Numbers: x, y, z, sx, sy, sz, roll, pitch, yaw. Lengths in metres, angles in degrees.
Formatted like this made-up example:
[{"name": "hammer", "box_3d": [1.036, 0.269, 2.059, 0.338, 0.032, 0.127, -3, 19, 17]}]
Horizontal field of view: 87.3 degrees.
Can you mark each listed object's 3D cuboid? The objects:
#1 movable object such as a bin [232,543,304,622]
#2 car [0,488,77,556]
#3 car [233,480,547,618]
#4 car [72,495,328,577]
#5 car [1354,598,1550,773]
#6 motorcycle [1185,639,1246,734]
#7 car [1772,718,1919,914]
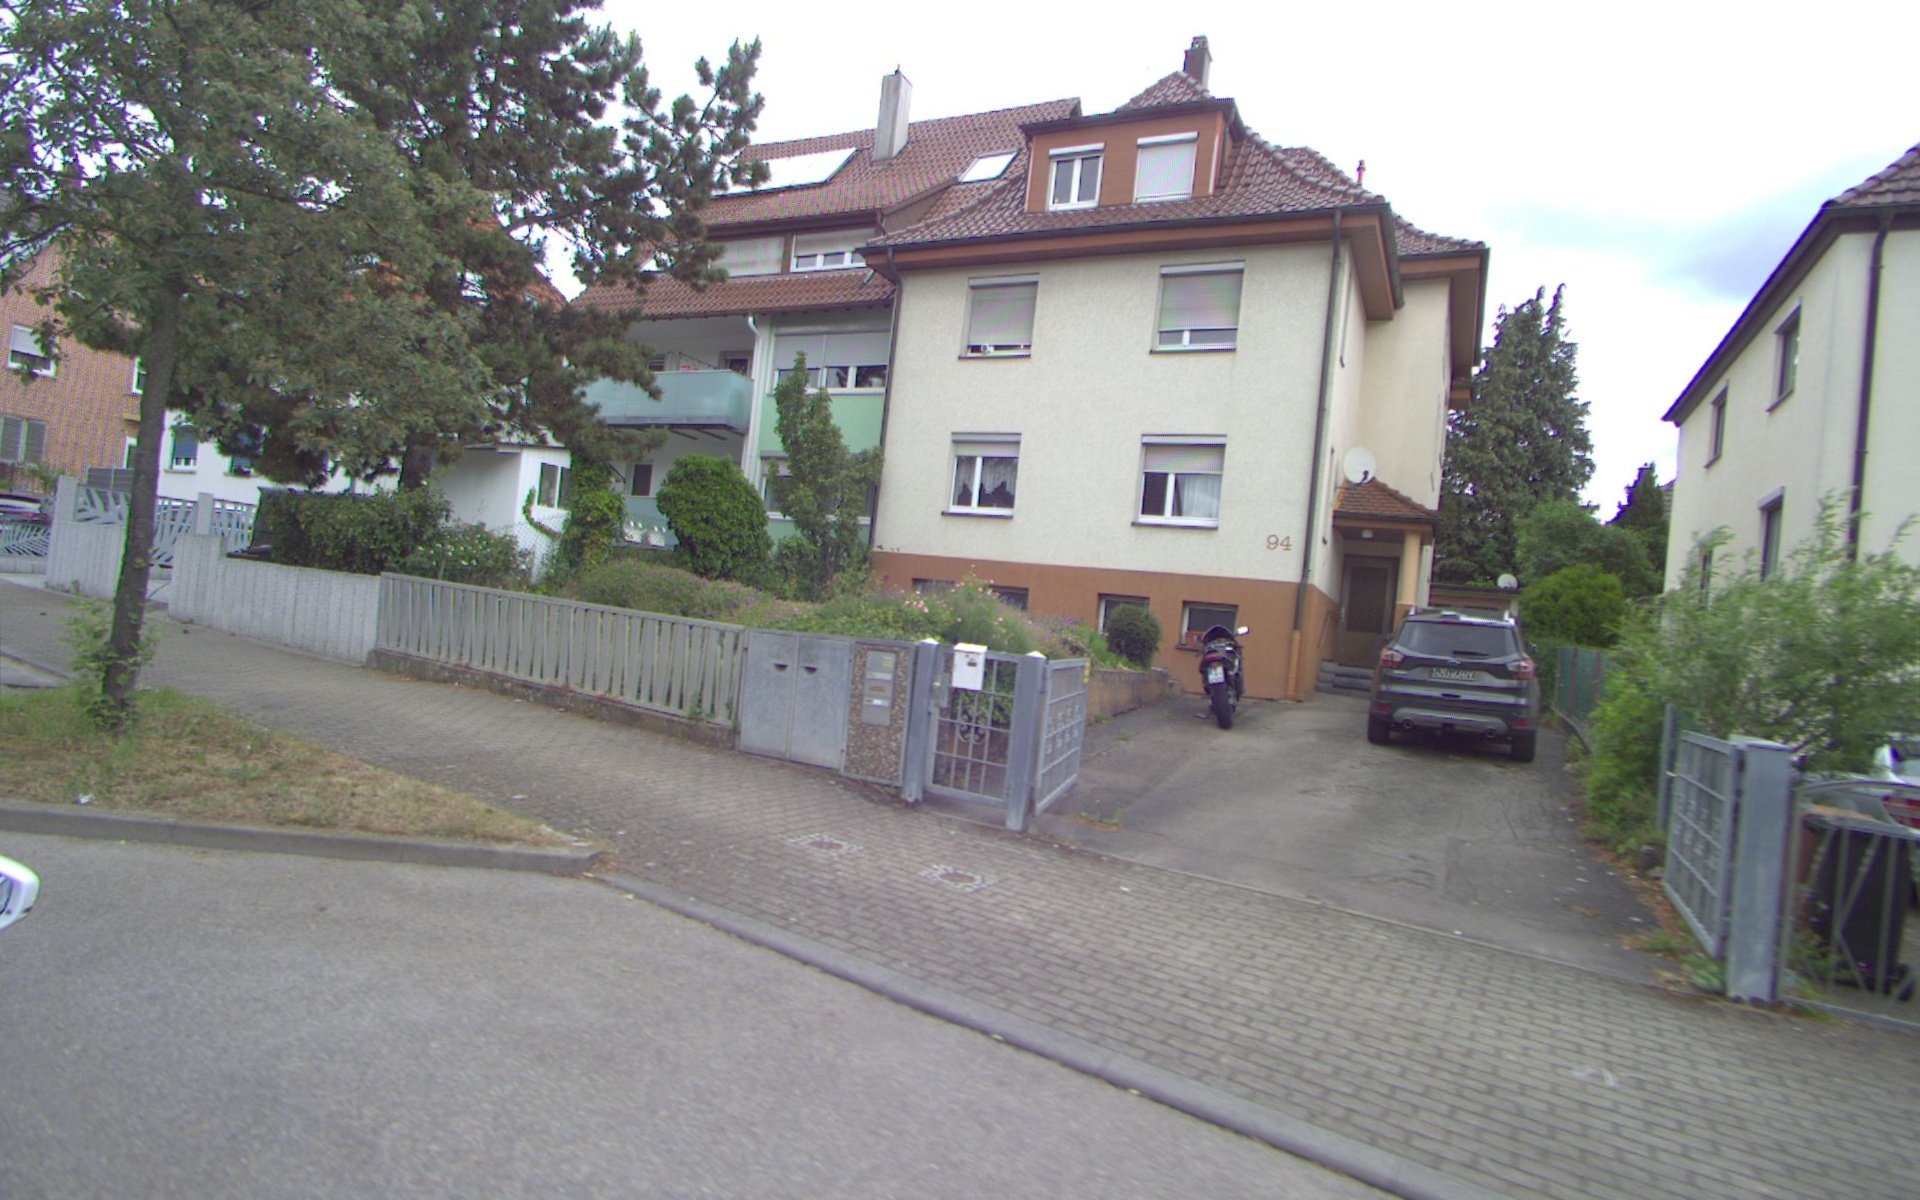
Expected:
[{"name": "movable object such as a bin", "box_3d": [-9.947, -0.261, 14.470, 0.603, 1.071, 0.593, 4, 4, 10]}, {"name": "car", "box_3d": [-22.107, -1.886, 23.480, 1.806, 1.400, 4.434, 3, 3, -36]}, {"name": "car", "box_3d": [-10.336, -0.916, 18.428, 4.634, 2.041, 1.977, 5, 3, 5]}, {"name": "car", "box_3d": [-16.670, -1.362, 22.340, 1.665, 1.526, 4.265, 4, 2, 24]}, {"name": "car", "box_3d": [6.368, 0.918, 13.000, 1.853, 1.727, 3.987, 4, 3, 28]}, {"name": "motorcycle", "box_3d": [3.364, 1.102, 13.194, 0.575, 1.061, 1.222, 4, 4, 20]}, {"name": "car", "box_3d": [9.130, 1.986, 9.424, 1.618, 1.409, 3.994, 6, -1, 30]}]
